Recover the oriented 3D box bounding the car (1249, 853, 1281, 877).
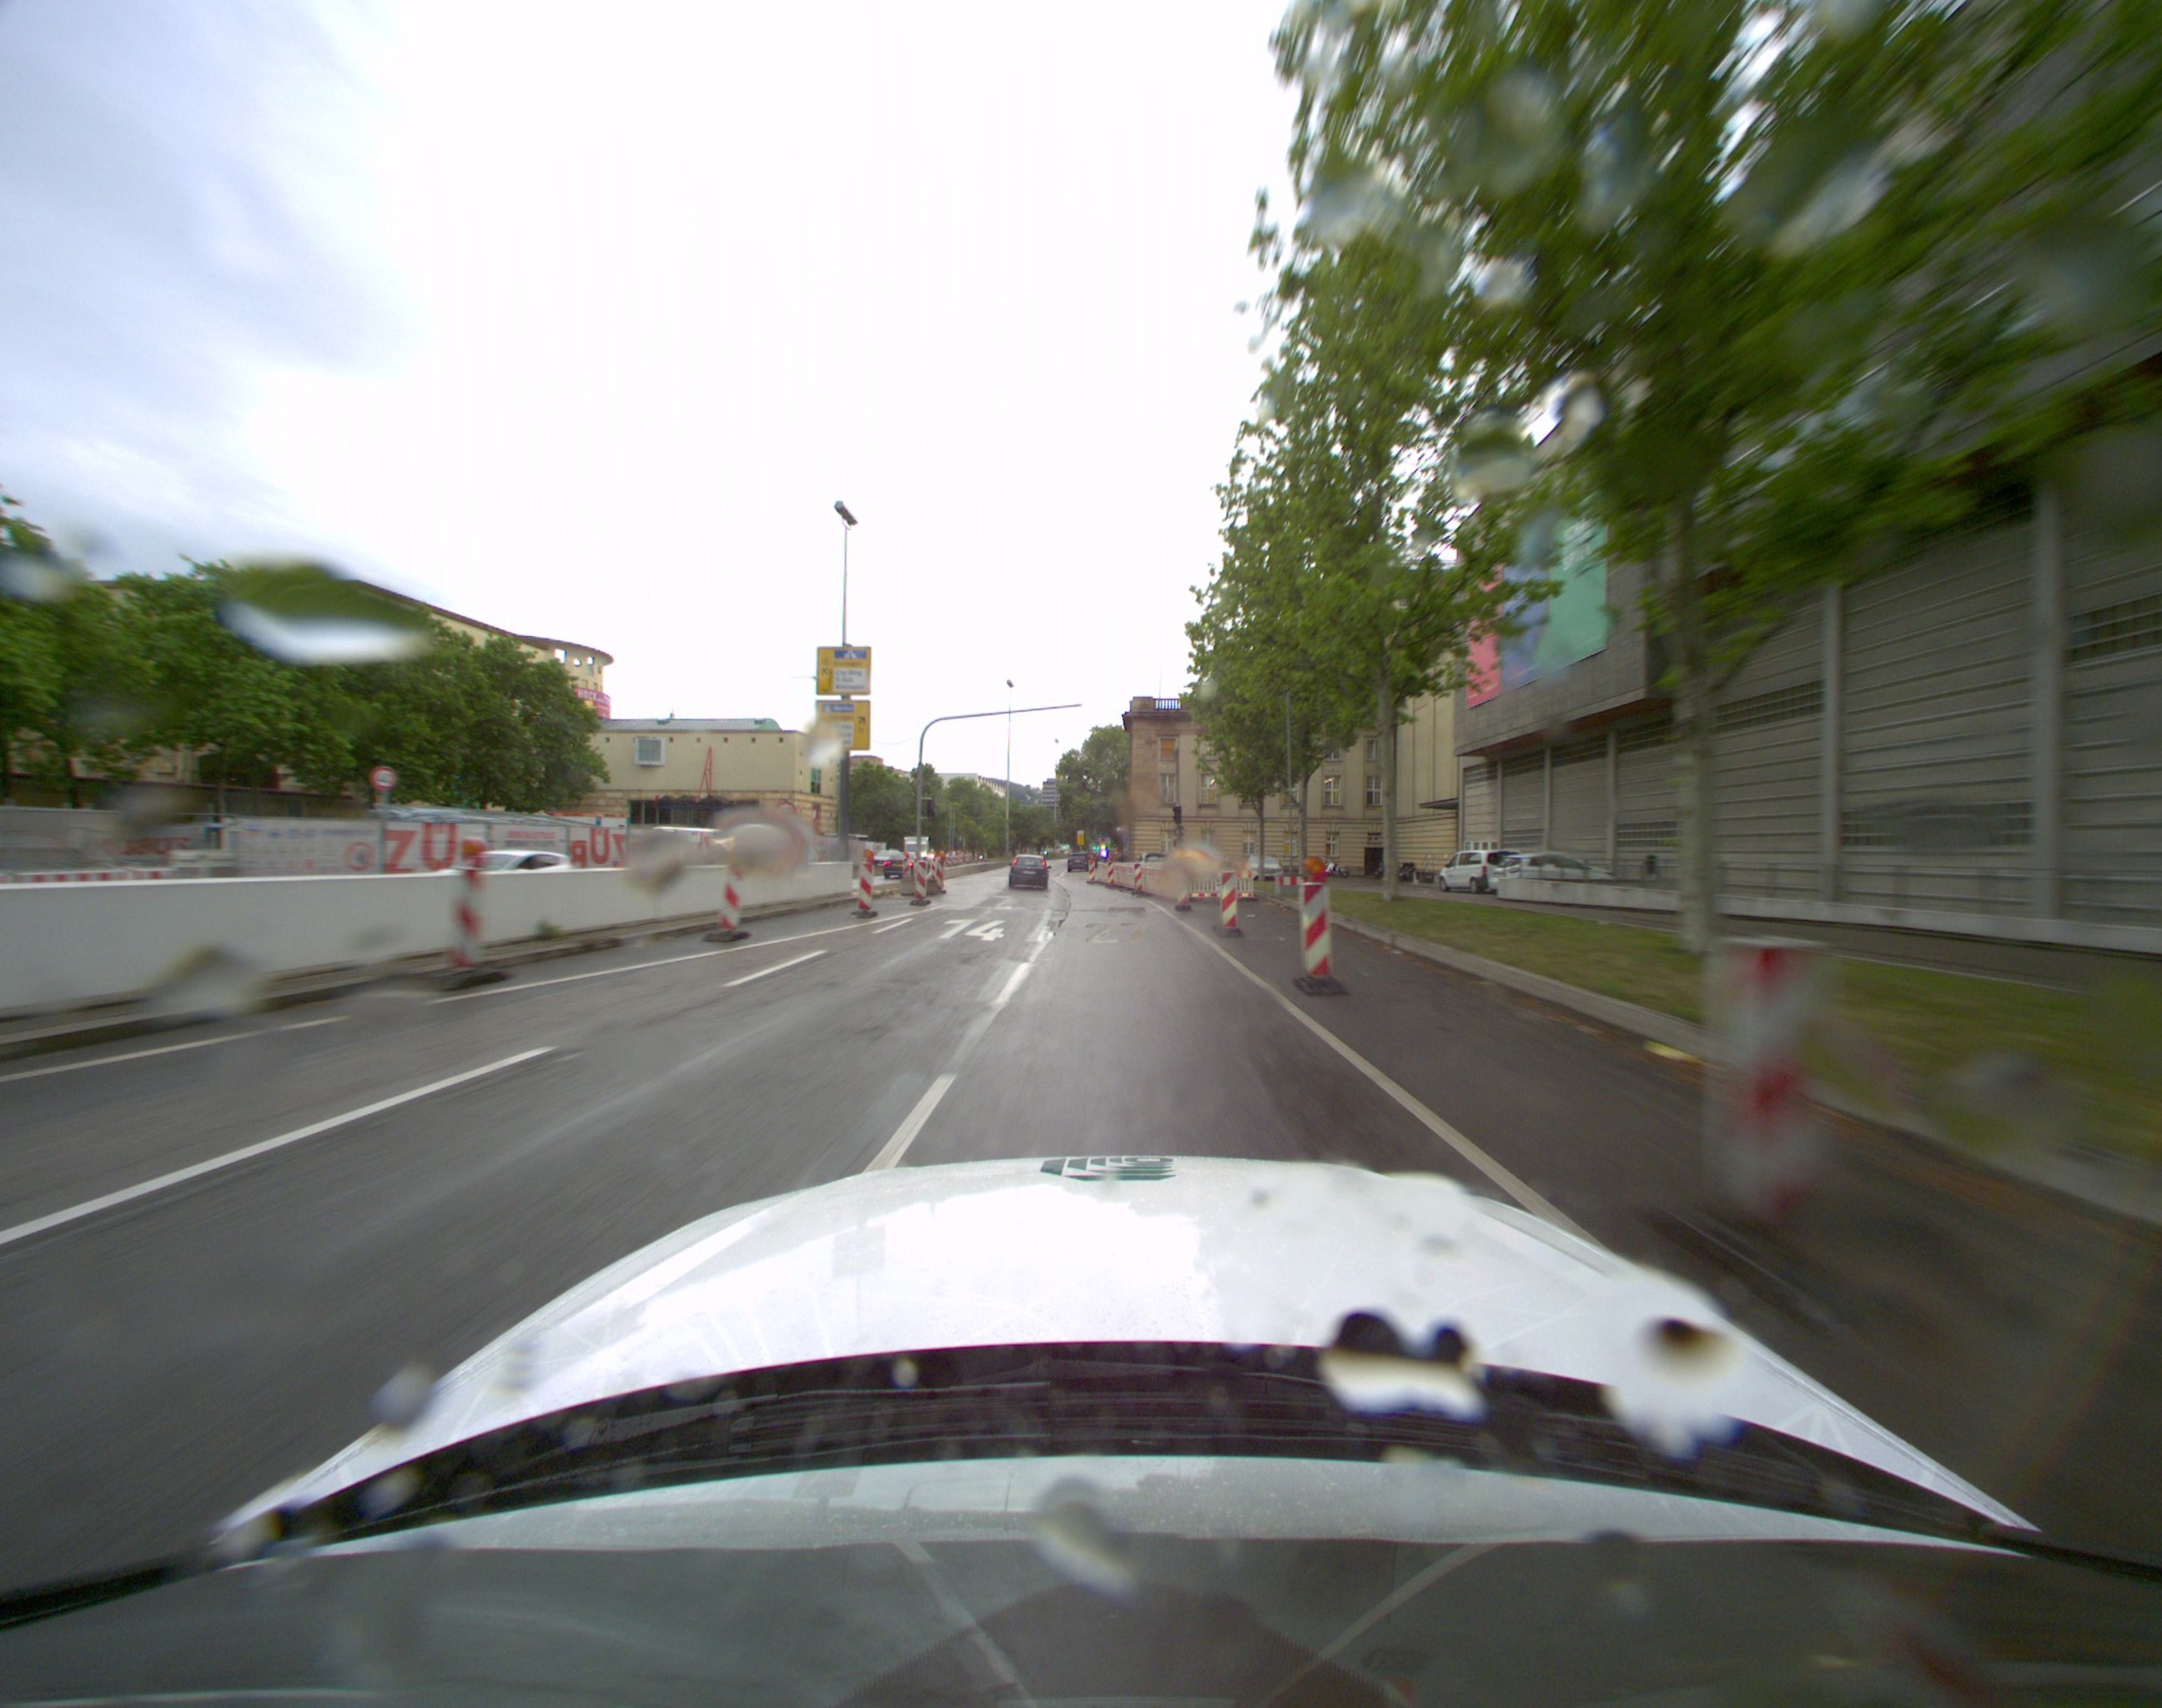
[{"bbox_3d":[14.372,0.878,63.836,1.983,1.709,4.007,2,-1,7],"label":"car"}]

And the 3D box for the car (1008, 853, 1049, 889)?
[{"bbox_3d":[-2.224,0.712,35.029,1.666,1.427,3.753,1,0,-3],"label":"car"}]

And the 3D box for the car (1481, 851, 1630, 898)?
[{"bbox_3d":[16.275,0.728,28.105,3.971,1.560,1.934,-1,-3,2],"label":"car"}]

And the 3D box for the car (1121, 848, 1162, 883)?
[{"bbox_3d":[3.231,0.598,44.104,1.986,1.708,4.002,2,1,2],"label":"car"}]

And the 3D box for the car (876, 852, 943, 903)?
[{"bbox_3d":[-4.902,0.646,23.627,1.382,1.386,3.064,0,-1,-2],"label":"car"}]

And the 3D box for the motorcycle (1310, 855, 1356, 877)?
[{"bbox_3d":[19.140,0.923,61.923,3.145,1.543,0.891,3,-2,6],"label":"motorcycle"}]

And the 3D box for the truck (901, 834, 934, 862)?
[{"bbox_3d":[-15.100,-0.491,75.426,2.411,2.339,5.430,3,-2,-7],"label":"truck"}]

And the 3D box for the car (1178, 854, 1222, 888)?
[{"bbox_3d":[6.503,0.895,44.889,1.986,1.708,4.002,2,1,2],"label":"car"}]

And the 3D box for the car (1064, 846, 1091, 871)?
[{"bbox_3d":[-0.264,0.343,67.687,1.986,2.013,4.002,2,1,2],"label":"car"}]

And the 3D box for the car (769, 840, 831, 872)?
[{"bbox_3d":[-14.538,0.111,42.393,1.662,1.522,4.001,3,0,1],"label":"car"}]

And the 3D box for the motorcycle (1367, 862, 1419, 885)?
[{"bbox_3d":[22.888,1.442,59.758,3.335,1.531,1.153,3,-2,4],"label":"motorcycle"}]

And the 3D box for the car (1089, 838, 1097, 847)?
[{"bbox_3d":[3.404,-3.243,230.316,1.989,2.014,3.996,3,-2,-2],"label":"car"}]

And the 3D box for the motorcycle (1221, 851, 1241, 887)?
[{"bbox_3d":[7.995,0.790,43.477,0.826,1.830,3.148,1,0,6],"label":"motorcycle"}]

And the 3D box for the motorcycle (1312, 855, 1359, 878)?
[{"bbox_3d":[19.022,0.930,60.899,3.146,1.543,0.891,3,-2,5],"label":"motorcycle"}]

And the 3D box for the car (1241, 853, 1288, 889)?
[{"bbox_3d":[9.664,0.838,43.095,1.983,1.708,4.008,2,1,7],"label":"car"}]

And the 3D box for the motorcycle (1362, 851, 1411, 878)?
[{"bbox_3d":[23.374,0.802,62.364,3.335,2.014,1.153,1,-2,4],"label":"motorcycle"}]

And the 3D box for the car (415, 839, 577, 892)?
[{"bbox_3d":[-14.980,0.282,21.088,1.620,1.195,3.407,3,0,2],"label":"car"}]

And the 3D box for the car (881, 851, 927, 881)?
[{"bbox_3d":[-9.587,0.614,44.439,1.838,1.410,3.994,3,0,-5],"label":"car"}]

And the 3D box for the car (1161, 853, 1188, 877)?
[{"bbox_3d":[7.378,0.854,64.011,1.983,1.708,4.008,2,1,7],"label":"car"}]

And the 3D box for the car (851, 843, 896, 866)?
[{"bbox_3d":[-14.754,0.076,58.093,1.986,1.479,4.000,3,-2,1],"label":"car"}]

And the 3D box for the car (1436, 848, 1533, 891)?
[{"bbox_3d":[17.682,0.699,36.016,1.985,1.760,5.100,0,-1,3],"label":"car"}]
